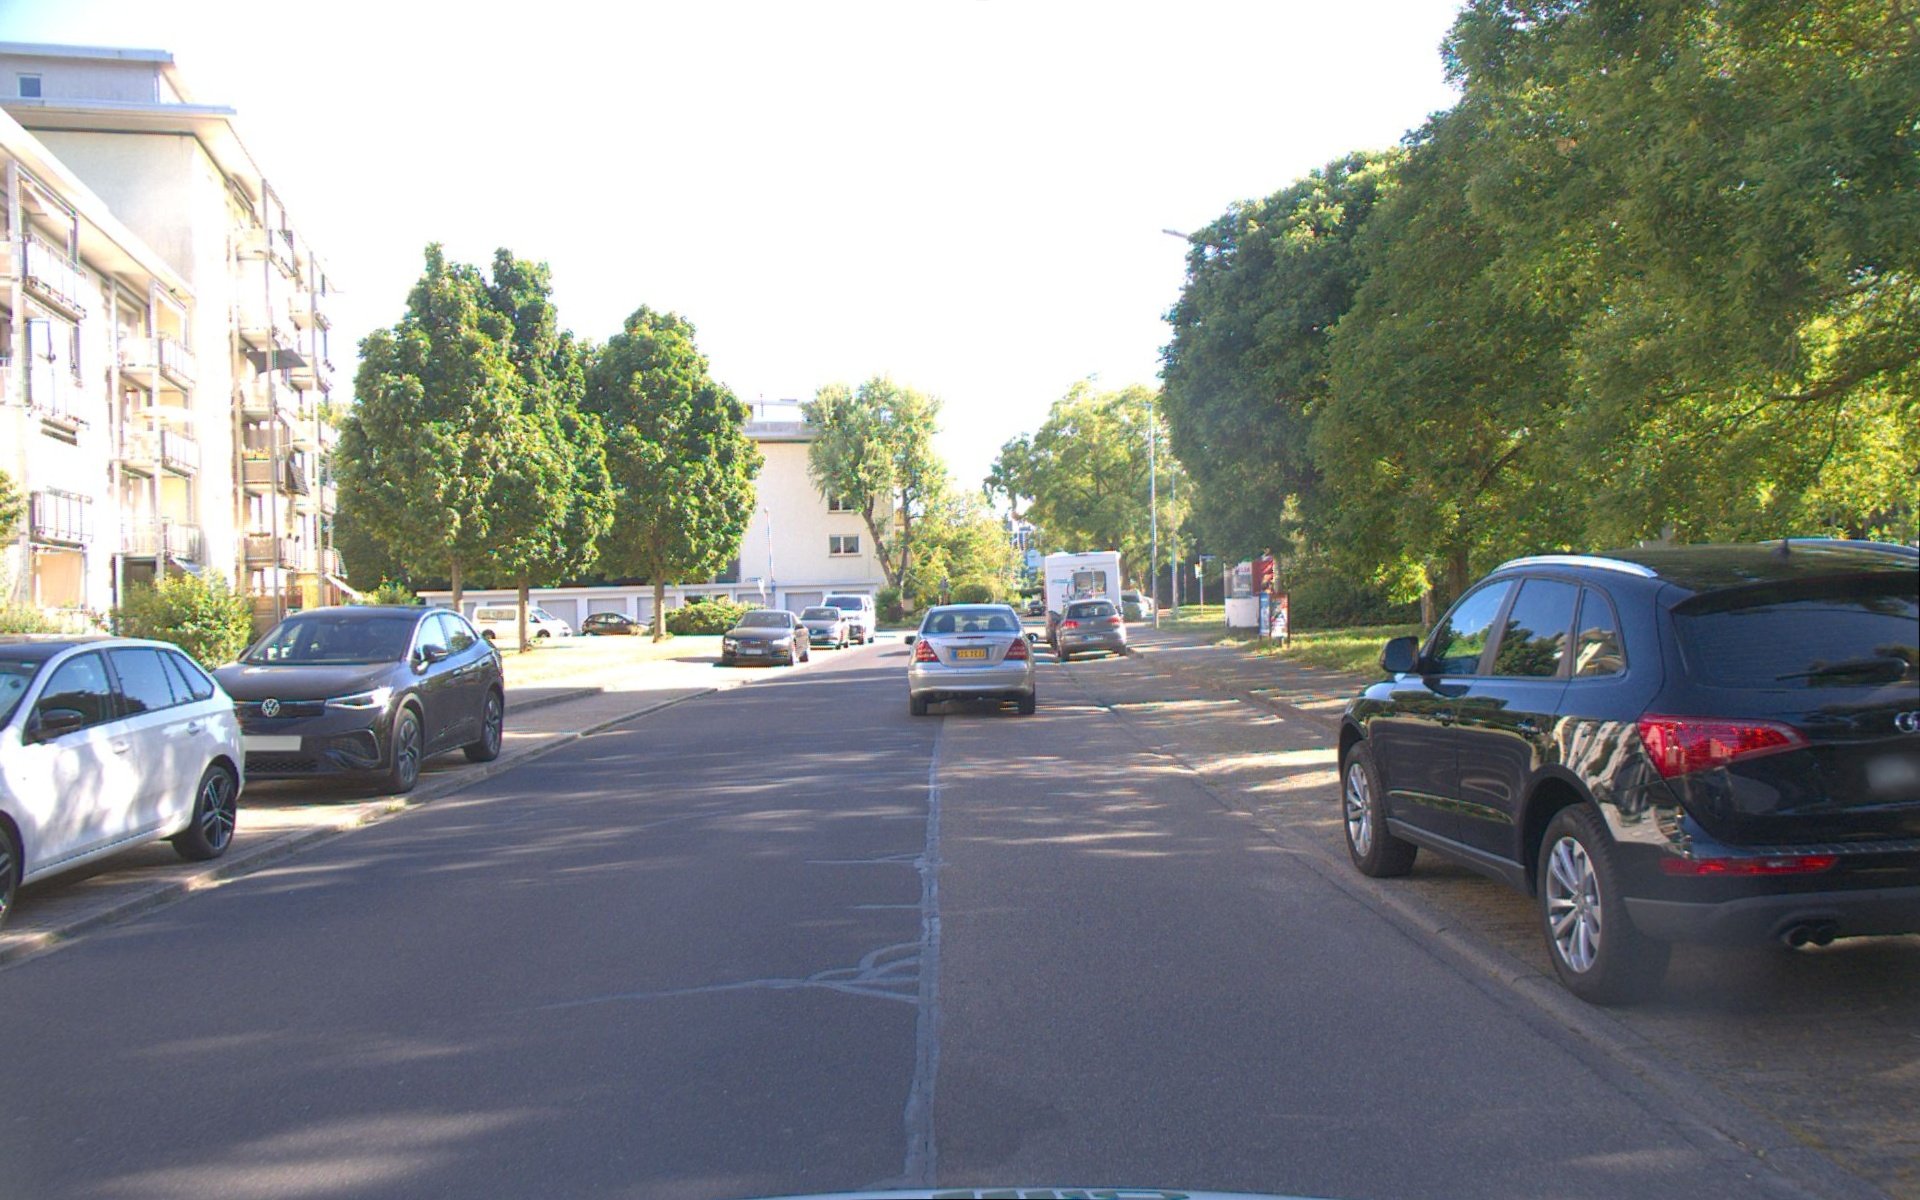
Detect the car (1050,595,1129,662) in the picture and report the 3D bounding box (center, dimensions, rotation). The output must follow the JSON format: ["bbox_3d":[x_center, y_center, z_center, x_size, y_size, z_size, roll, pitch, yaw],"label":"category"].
[{"bbox_3d":[3.383,0.721,43.976,1.685,1.550,4.429,-5,0,1],"label":"car"}]

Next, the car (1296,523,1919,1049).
[{"bbox_3d":[3.169,0.579,7.760,1.954,1.669,4.534,-4,0,-3],"label":"car"}]

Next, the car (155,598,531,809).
[{"bbox_3d":[-5.639,0.854,15.860,1.876,1.632,4.810,-2,0,-2],"label":"car"}]

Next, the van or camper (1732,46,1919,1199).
[{"bbox_3d":[3.261,0.080,0.971,2.305,2.641,6.424,-5,0,-1],"label":"van or camper"}]

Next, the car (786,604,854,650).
[{"bbox_3d":[-4.806,0.925,57.395,1.795,1.544,4.223,0,0,3],"label":"car"}]

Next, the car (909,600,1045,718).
[{"bbox_3d":[0.238,0.761,22.456,1.697,1.459,3.438,-1,-1,1],"label":"car"}]

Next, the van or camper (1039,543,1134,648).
[{"bbox_3d":[3.809,-0.132,51.084,2.445,2.895,6.852,-3,0,1],"label":"van or camper"}]

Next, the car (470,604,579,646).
[{"bbox_3d":[-22.860,1.309,86.964,4.996,1.985,2.239,-3,0,10],"label":"car"}]

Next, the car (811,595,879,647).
[{"bbox_3d":[-4.396,0.802,64.072,1.972,1.919,5.192,0,0,3],"label":"car"}]

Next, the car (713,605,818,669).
[{"bbox_3d":[-5.156,0.939,44.485,1.992,1.519,5.257,-2,0,2],"label":"car"}]

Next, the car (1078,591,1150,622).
[{"bbox_3d":[10.742,0.454,115.904,4.784,1.957,2.000,-3,0,0],"label":"car"}]

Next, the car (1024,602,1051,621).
[{"bbox_3d":[6.965,0.996,148.995,1.872,1.516,3.840,-5,-1,10],"label":"car"}]

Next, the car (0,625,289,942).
[{"bbox_3d":[-5.510,0.941,9.402,1.613,1.492,4.330,-1,0,0],"label":"car"}]

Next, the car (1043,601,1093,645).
[{"bbox_3d":[3.886,0.809,59.936,1.656,1.500,4.001,-2,0,3],"label":"car"}]

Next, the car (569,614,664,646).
[{"bbox_3d":[-17.878,1.561,86.209,4.347,1.486,2.045,-3,0,9],"label":"car"}]
